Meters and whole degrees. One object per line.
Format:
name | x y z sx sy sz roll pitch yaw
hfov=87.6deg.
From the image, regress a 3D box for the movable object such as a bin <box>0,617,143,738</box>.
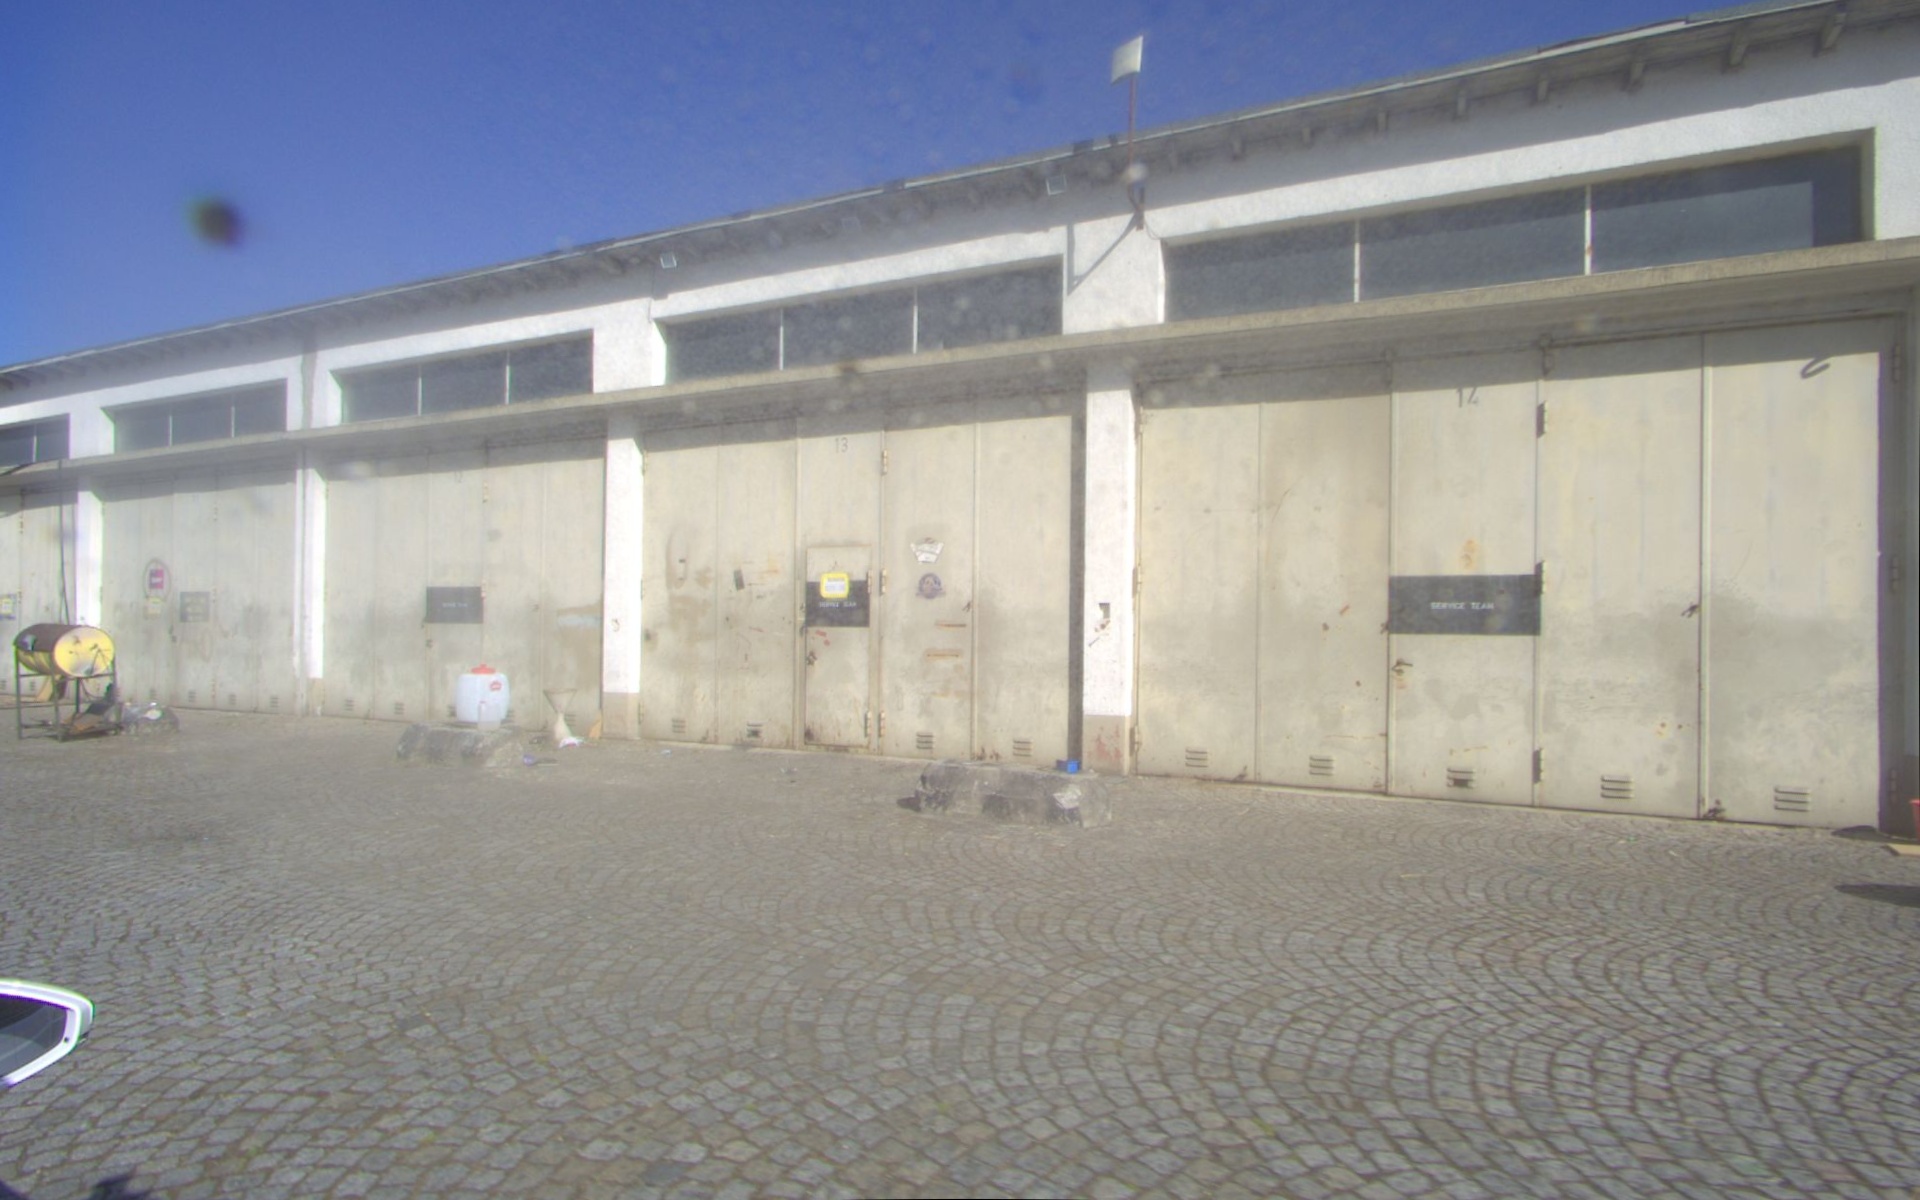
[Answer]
movable object such as a bin | -10.517 0.885 11.803 1.258 1.348 0.825 0 -1 20
